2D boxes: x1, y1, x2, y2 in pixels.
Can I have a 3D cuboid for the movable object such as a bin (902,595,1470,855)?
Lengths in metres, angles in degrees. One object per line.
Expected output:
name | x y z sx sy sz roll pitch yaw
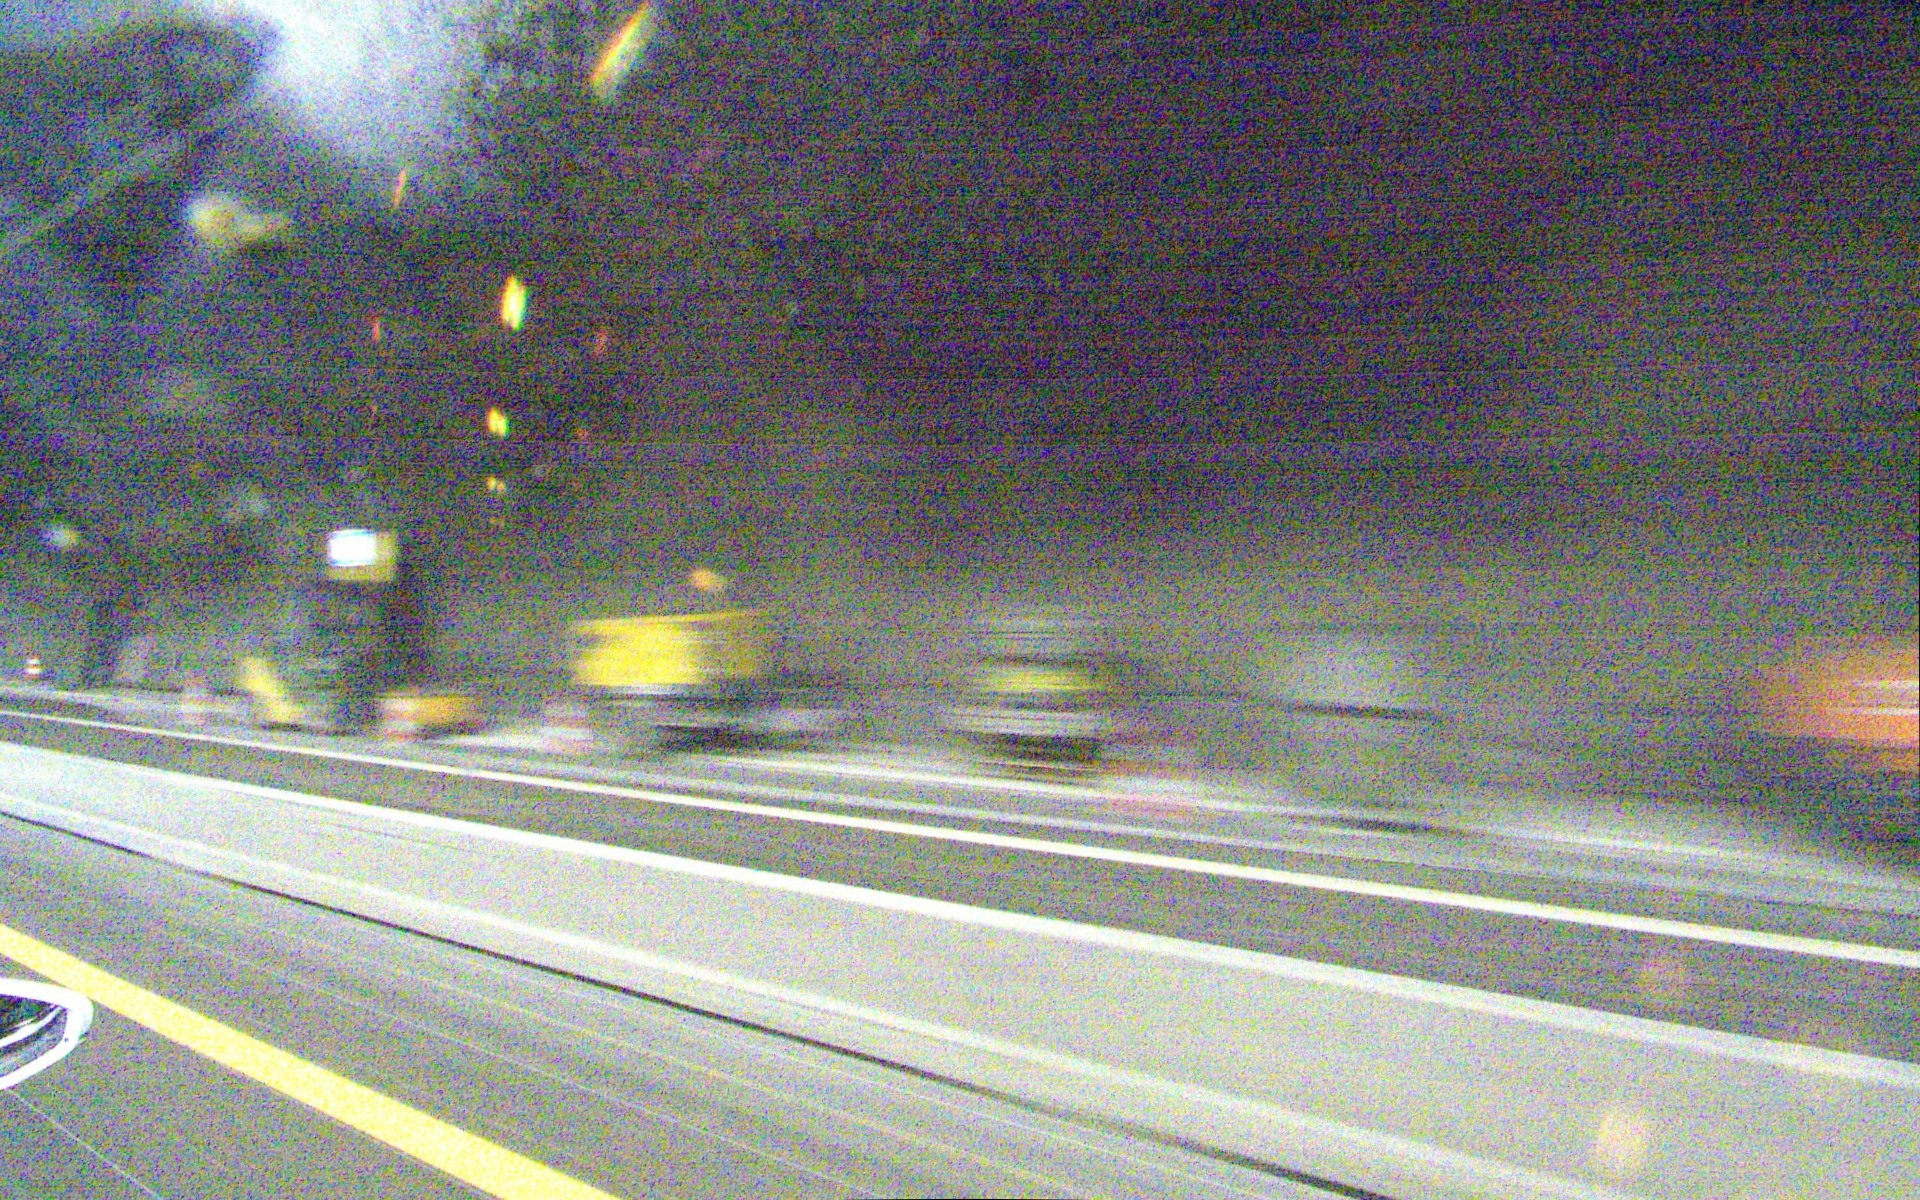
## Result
movable object such as a bin | 1.858 0.848 8.660 4.436 1.698 1.856 0 2 32

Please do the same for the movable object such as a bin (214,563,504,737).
movable object such as a bin | -8.726 0.695 14.417 4.561 2.172 1.681 -1 -2 32

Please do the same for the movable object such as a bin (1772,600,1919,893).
movable object such as a bin | 6.637 0.827 5.658 3.011 1.616 1.300 0 2 32

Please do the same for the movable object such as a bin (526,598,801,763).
movable object such as a bin | -3.560 0.904 11.963 3.011 1.730 1.554 -1 -2 32
